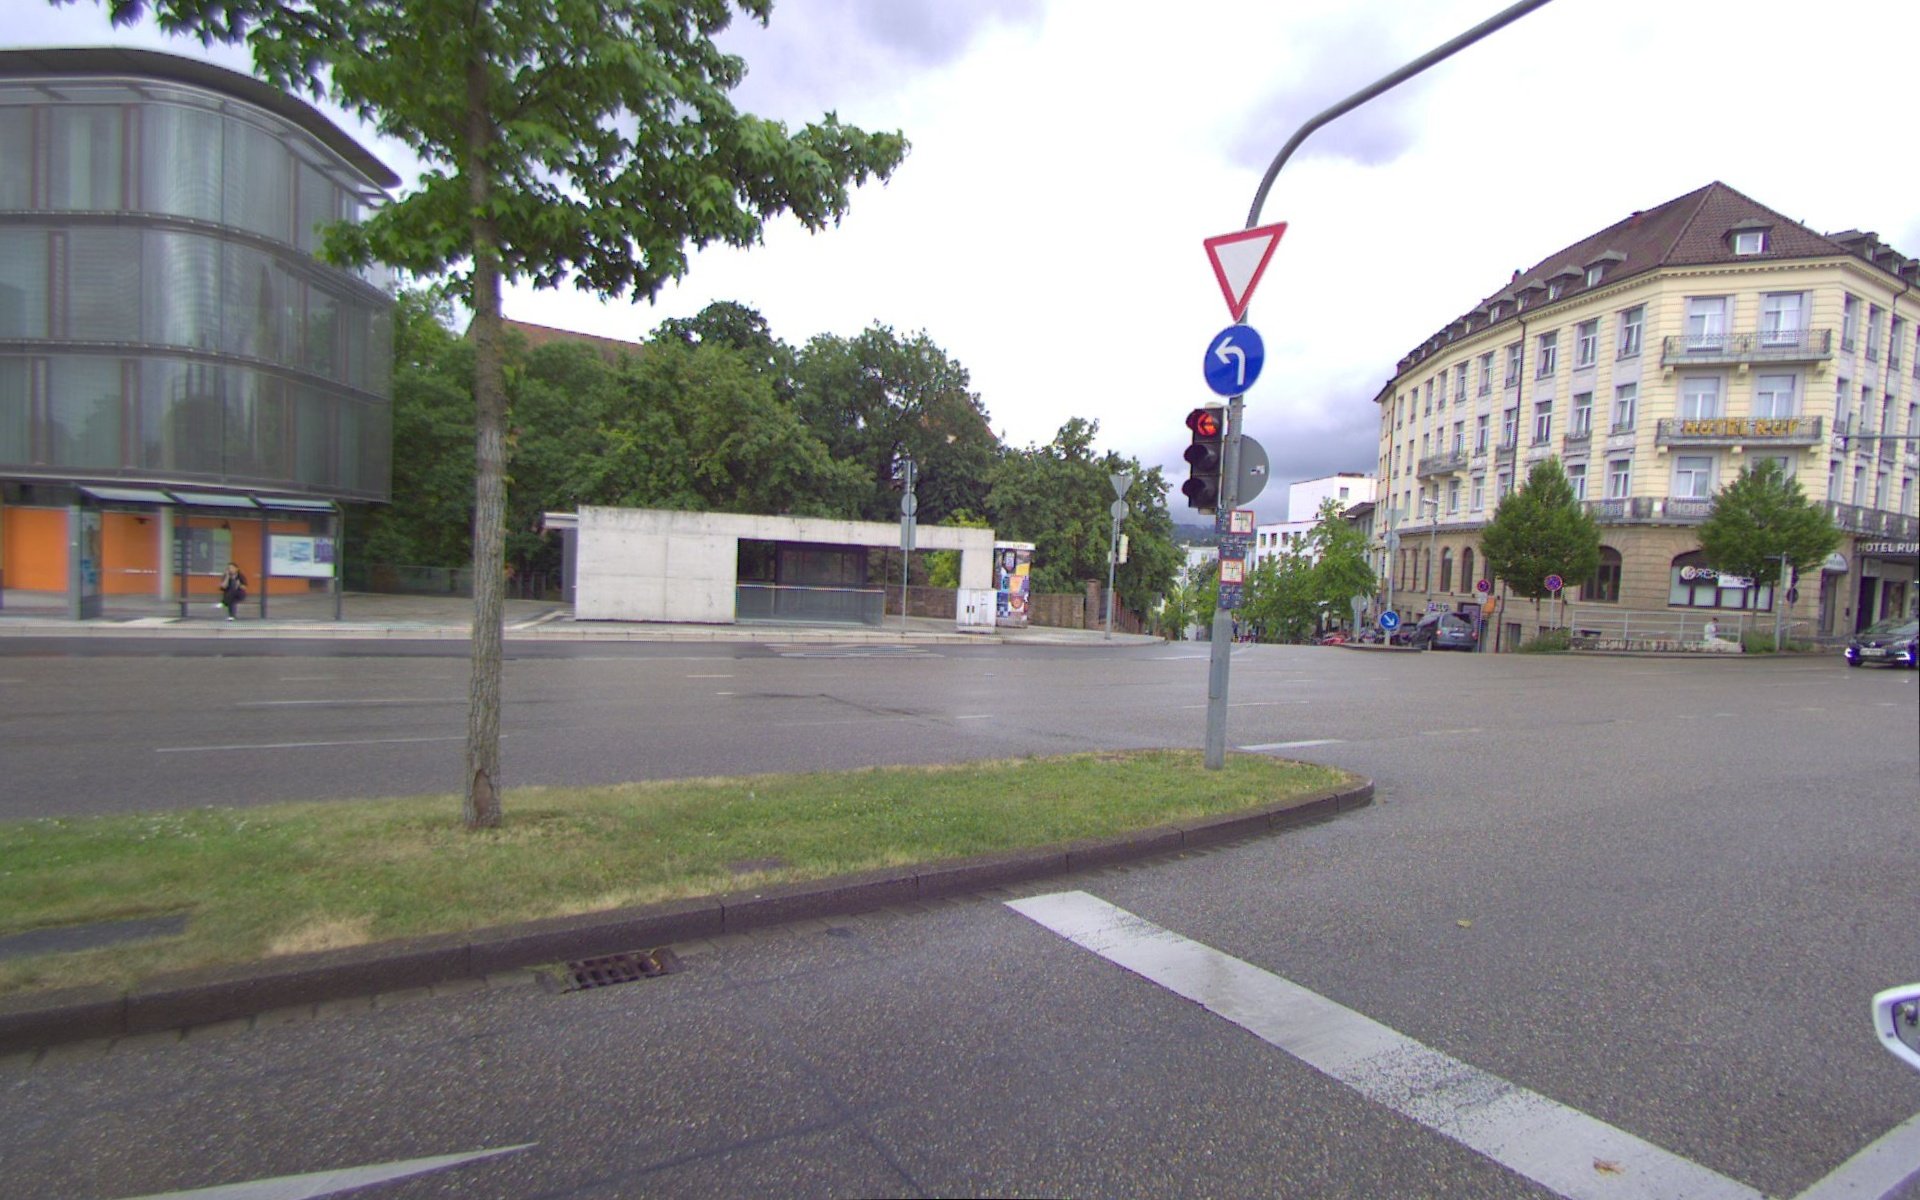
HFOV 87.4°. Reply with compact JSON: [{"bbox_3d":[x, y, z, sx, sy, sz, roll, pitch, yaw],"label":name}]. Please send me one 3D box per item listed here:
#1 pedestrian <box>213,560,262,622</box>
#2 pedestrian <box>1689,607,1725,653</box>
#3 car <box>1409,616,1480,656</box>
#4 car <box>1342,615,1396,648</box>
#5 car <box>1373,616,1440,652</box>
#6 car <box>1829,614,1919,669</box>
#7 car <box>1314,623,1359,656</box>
[{"bbox_3d":[-16.083,-0.196,22.379,0.780,1.341,0.798,1,1,-28],"label":"pedestrian"},{"bbox_3d":[31.331,1.254,42.127,1.010,1.903,0.859,1,1,-30],"label":"pedestrian"},{"bbox_3d":[21.734,1.574,45.189,1.764,1.589,4.002,2,1,9],"label":"car"},{"bbox_3d":[23.162,1.769,56.994,1.757,1.662,3.916,2,1,6],"label":"car"},{"bbox_3d":[22.907,1.715,51.696,1.959,1.662,4.002,2,0,6],"label":"car"},{"bbox_3d":[29.919,1.279,32.008,4.020,1.551,1.767,0,2,-23],"label":"car"},{"bbox_3d":[23.585,2.473,63.048,1.741,1.836,3.624,2,1,7],"label":"car"}]
